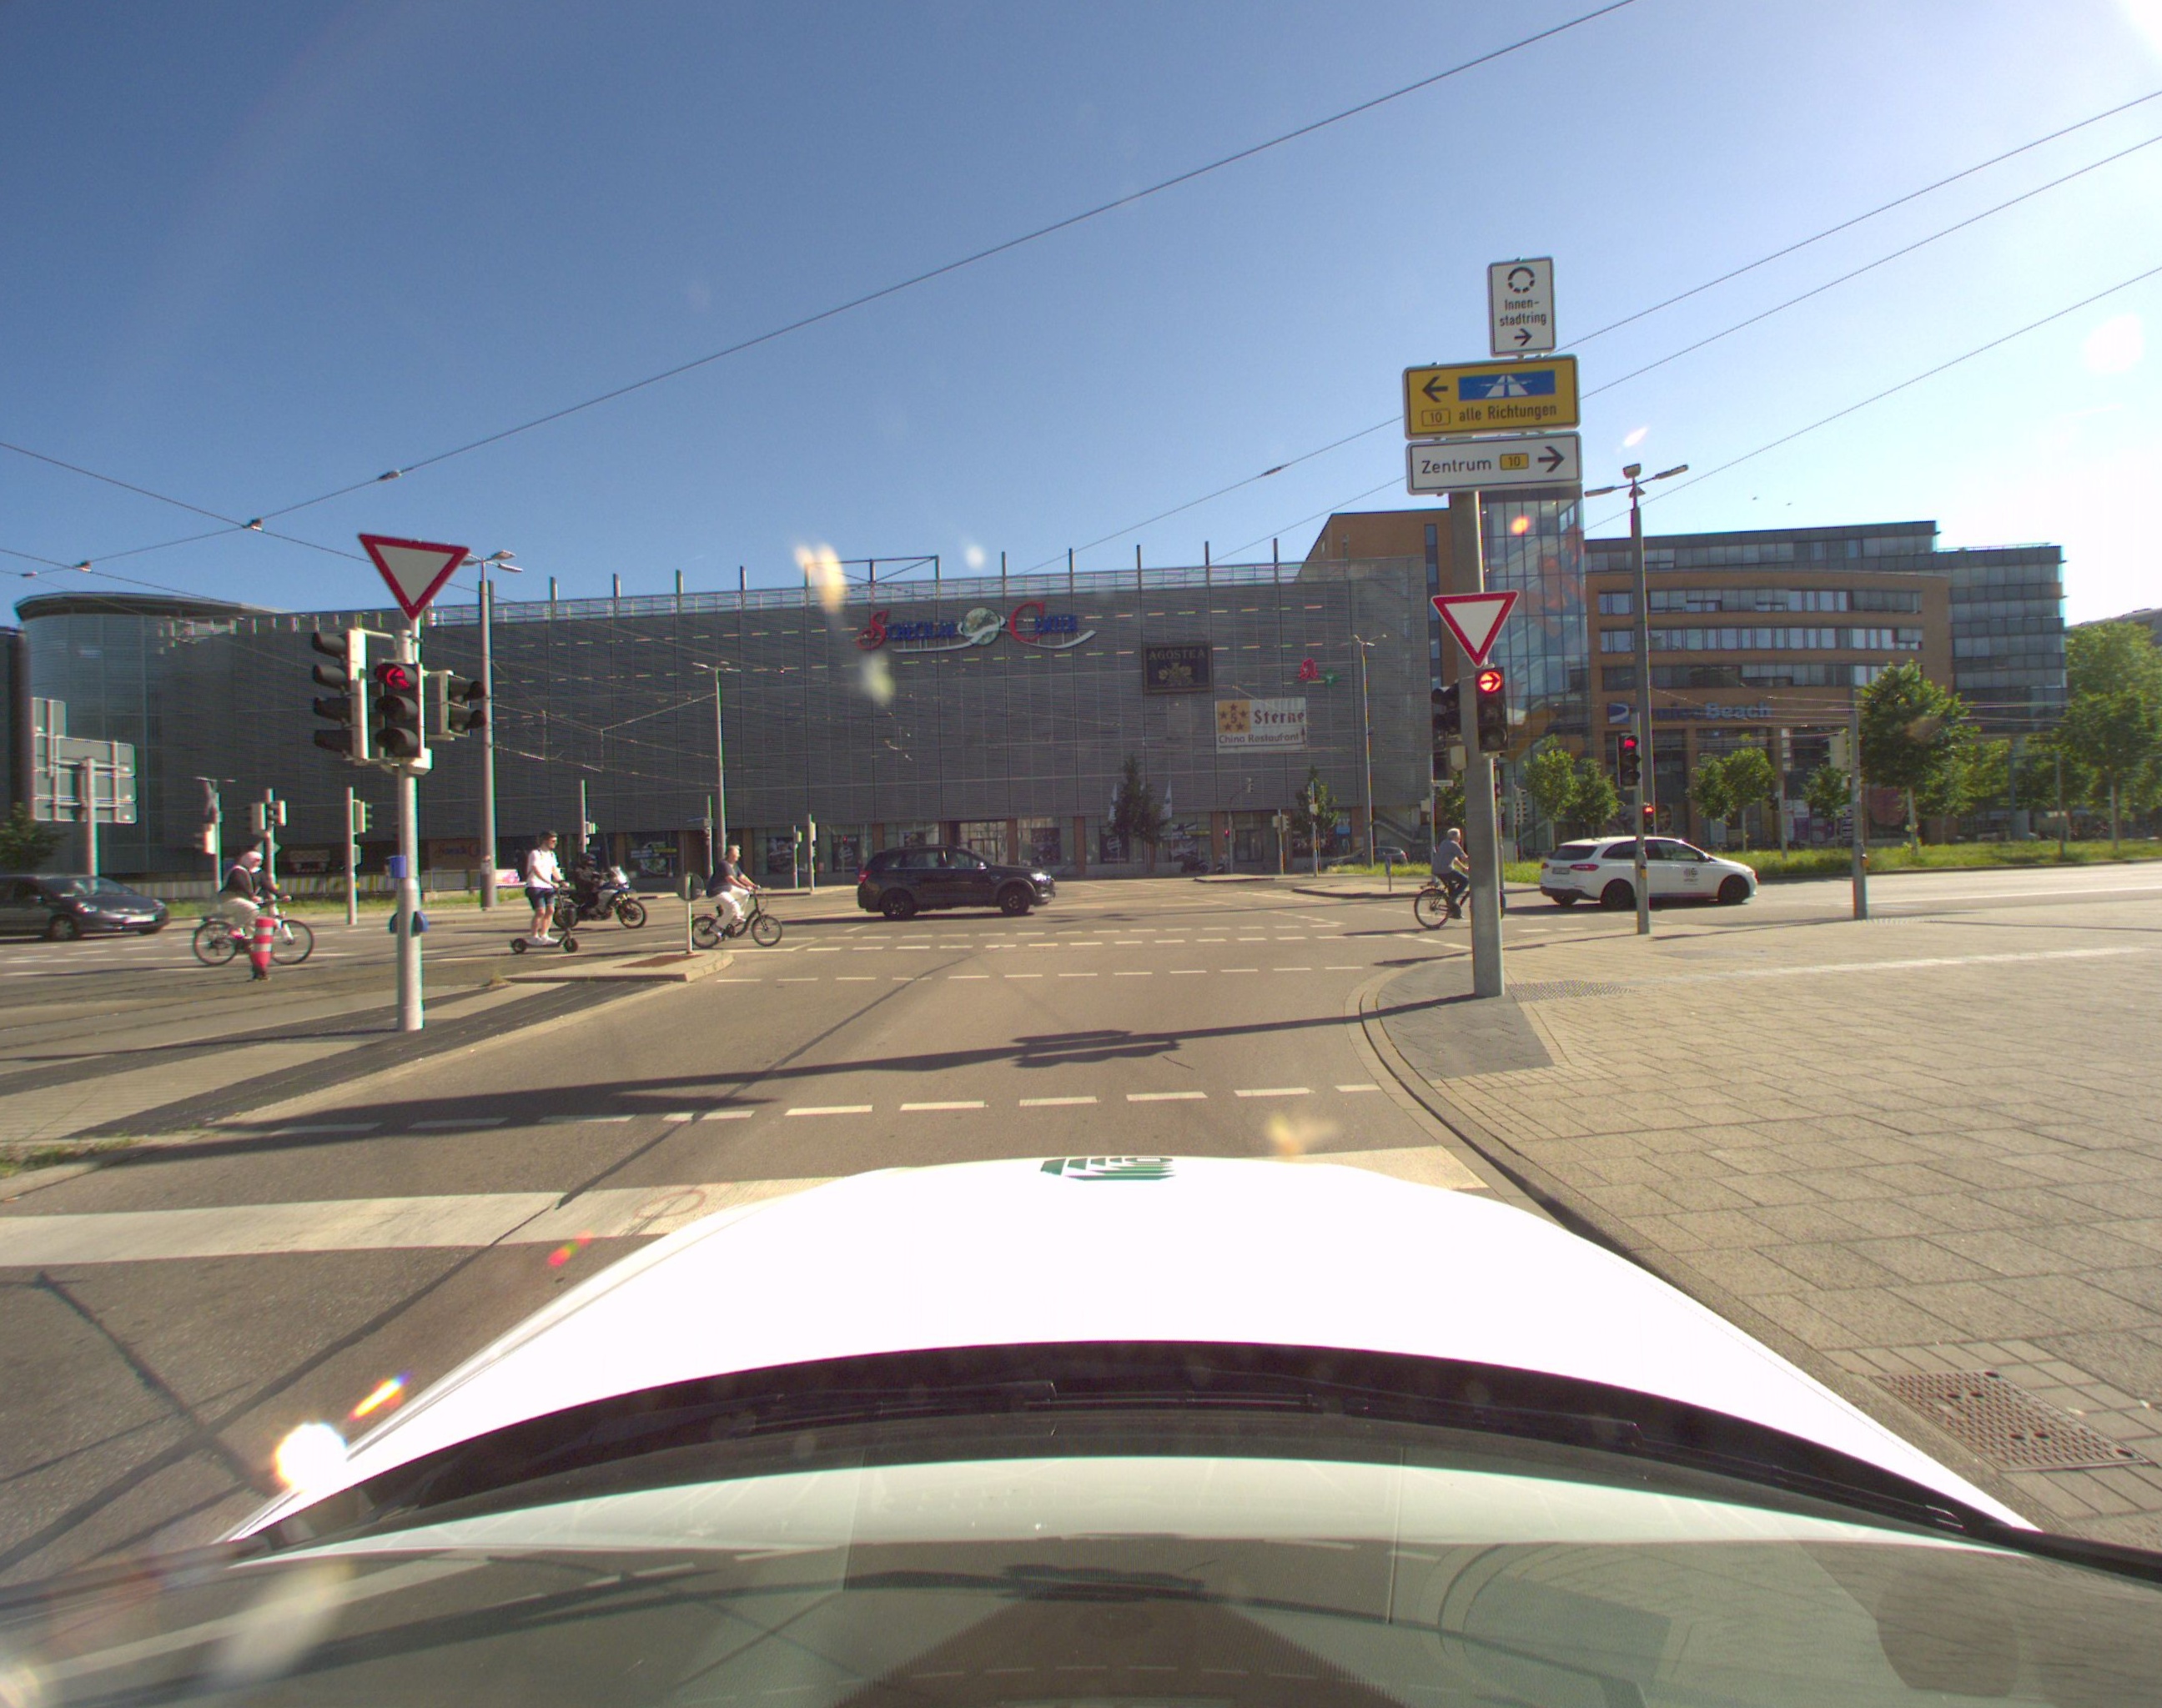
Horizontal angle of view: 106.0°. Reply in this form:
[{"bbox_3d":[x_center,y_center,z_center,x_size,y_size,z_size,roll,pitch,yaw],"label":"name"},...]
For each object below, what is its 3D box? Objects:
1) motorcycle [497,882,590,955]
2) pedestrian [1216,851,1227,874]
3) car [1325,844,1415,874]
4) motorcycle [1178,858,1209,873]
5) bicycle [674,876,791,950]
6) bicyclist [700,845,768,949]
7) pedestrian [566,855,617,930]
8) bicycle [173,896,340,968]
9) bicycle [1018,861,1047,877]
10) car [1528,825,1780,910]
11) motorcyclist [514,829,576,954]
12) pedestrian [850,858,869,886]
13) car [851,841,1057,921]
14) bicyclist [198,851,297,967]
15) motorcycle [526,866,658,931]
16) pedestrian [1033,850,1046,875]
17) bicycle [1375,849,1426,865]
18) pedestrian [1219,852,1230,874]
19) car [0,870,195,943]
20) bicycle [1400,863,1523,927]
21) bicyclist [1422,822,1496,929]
[{"bbox_3d":[-8.852,1.050,13.425,1.182,1.121,0.483,-2,0,1],"label":"motorcycle"},{"bbox_3d":[9.421,0.582,54.522,0.587,1.535,0.658,-2,-1,1],"label":"pedestrian"},{"bbox_3d":[16.110,0.290,45.496,4.470,1.495,1.495,-2,0,1],"label":"car"},{"bbox_3d":[8.414,0.846,60.821,2.194,1.042,1.062,-1,0,2],"label":"motorcycle"},{"bbox_3d":[-5.705,0.953,13.397,1.571,1.107,0.734,-2,0,-1],"label":"bicycle"},{"bbox_3d":[-5.701,0.697,13.414,0.780,1.648,0.690,-2,0,-1],"label":"bicyclist"},{"bbox_3d":[-11.164,0.859,18.582,0.741,1.677,0.665,-1,-1,1],"label":"pedestrian"},{"bbox_3d":[-13.229,1.234,13.102,1.920,1.036,0.694,-2,0,-2],"label":"bicycle"},{"bbox_3d":[-3.608,1.111,60.676,2.019,1.059,1.145,-2,0,1],"label":"bicycle"},{"bbox_3d":[12.582,0.260,18.036,4.483,1.635,1.835,-2,1,-7],"label":"car"},{"bbox_3d":[-8.829,0.605,13.427,0.625,2.013,0.498,-2,-1,2],"label":"motorcyclist"},{"bbox_3d":[-15.105,1.223,55.487,0.894,1.868,0.826,-2,-1,44],"label":"pedestrian"},{"bbox_3d":[-2.934,0.595,19.573,4.625,1.718,1.837,-1,1,-4],"label":"car"},{"bbox_3d":[-13.371,0.857,13.085,0.761,1.789,0.762,-2,0,-2],"label":"bicyclist"},{"bbox_3d":[-11.141,0.998,18.601,2.435,1.419,0.915,-1,0,0],"label":"motorcycle"},{"bbox_3d":[-3.053,0.620,59.991,0.845,1.763,0.620,-2,-1,1],"label":"pedestrian"},{"bbox_3d":[23.831,0.220,60.757,3.342,1.077,1.119,-1,0,7],"label":"bicycle"},{"bbox_3d":[9.724,0.612,55.308,0.587,1.462,0.658,-2,-1,1],"label":"pedestrian"},{"bbox_3d":[-23.261,1.183,18.781,3.736,1.525,1.825,-1,0,3],"label":"car"},{"bbox_3d":[6.857,0.724,14.738,1.822,1.116,0.854,-1,0,2],"label":"bicycle"},{"bbox_3d":[6.828,0.378,14.748,0.898,1.859,0.855,-2,-1,2],"label":"bicyclist"}]
